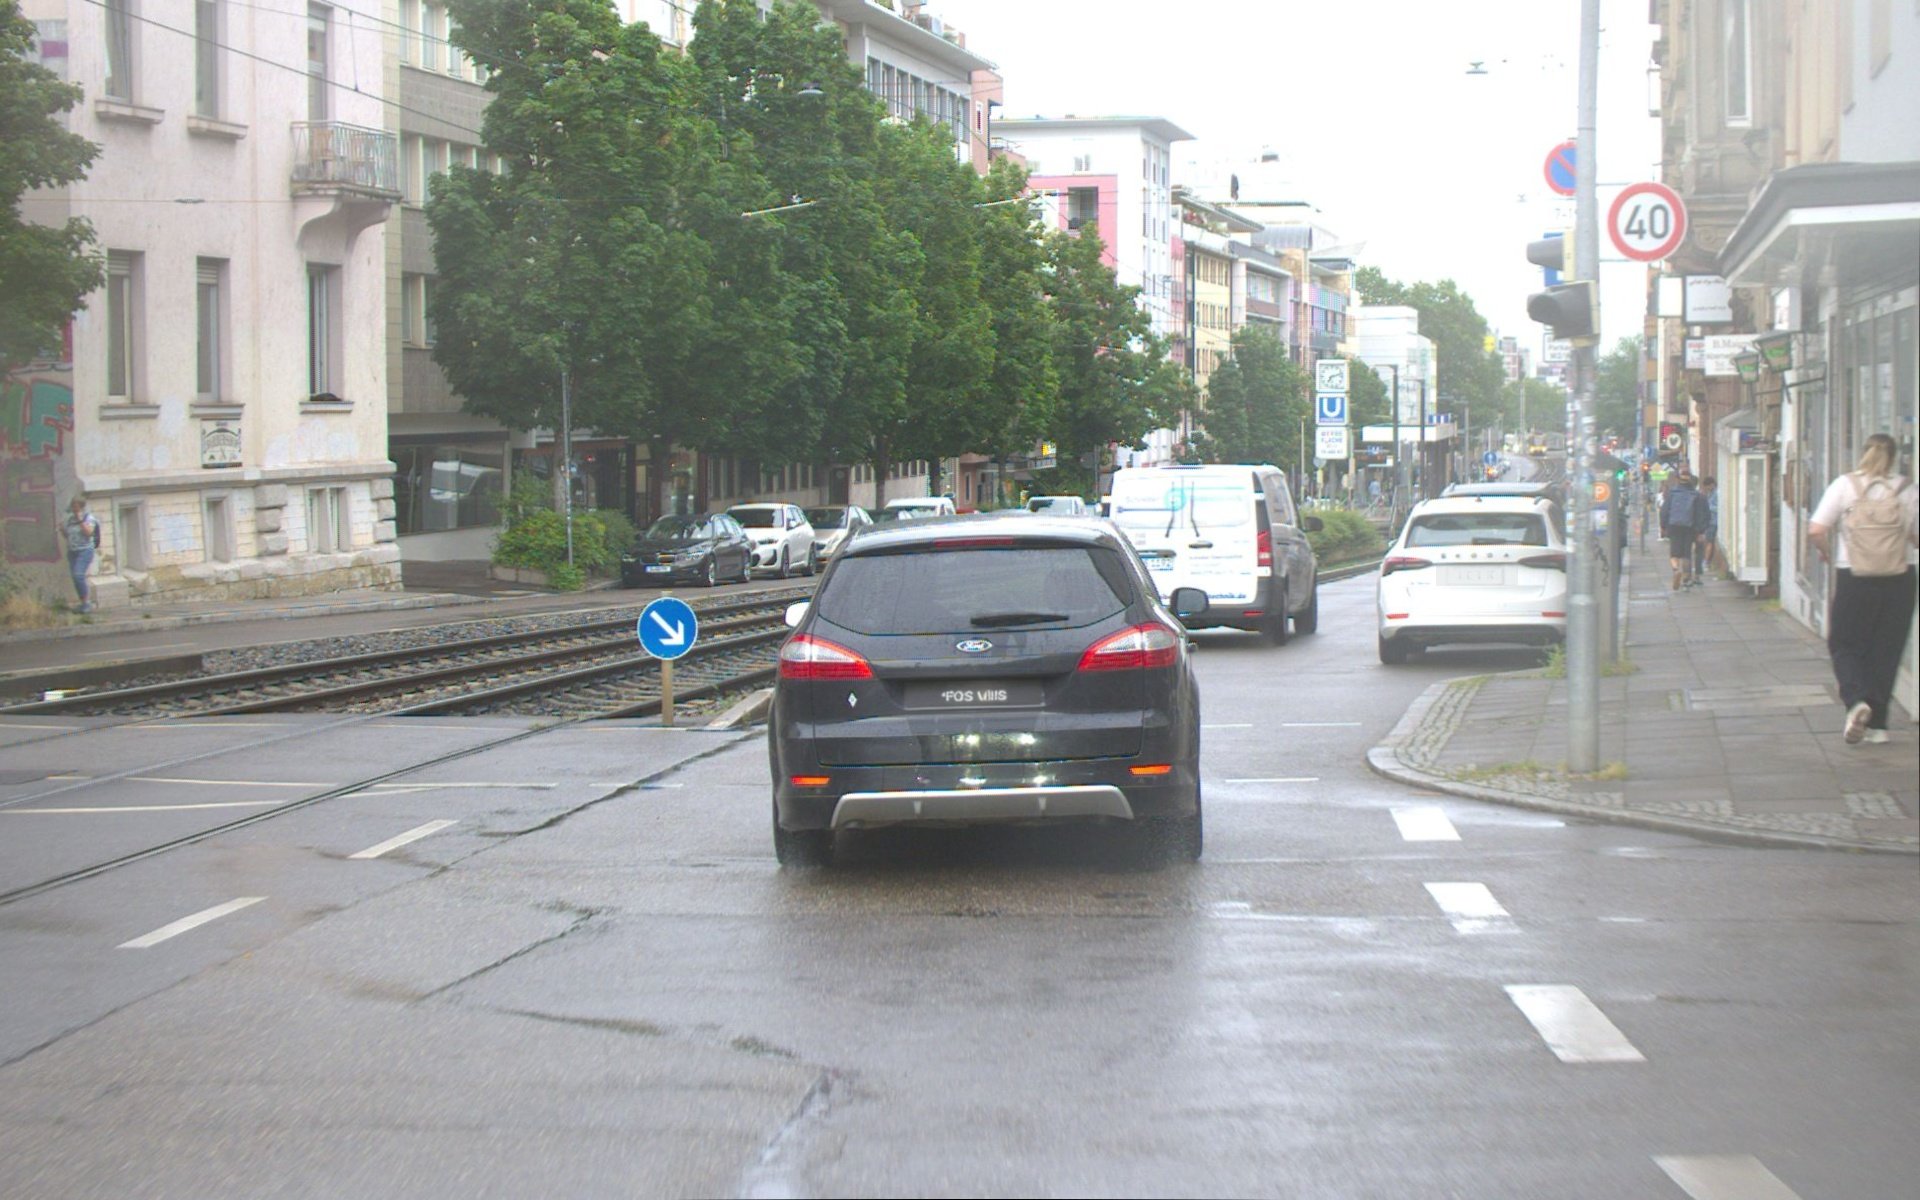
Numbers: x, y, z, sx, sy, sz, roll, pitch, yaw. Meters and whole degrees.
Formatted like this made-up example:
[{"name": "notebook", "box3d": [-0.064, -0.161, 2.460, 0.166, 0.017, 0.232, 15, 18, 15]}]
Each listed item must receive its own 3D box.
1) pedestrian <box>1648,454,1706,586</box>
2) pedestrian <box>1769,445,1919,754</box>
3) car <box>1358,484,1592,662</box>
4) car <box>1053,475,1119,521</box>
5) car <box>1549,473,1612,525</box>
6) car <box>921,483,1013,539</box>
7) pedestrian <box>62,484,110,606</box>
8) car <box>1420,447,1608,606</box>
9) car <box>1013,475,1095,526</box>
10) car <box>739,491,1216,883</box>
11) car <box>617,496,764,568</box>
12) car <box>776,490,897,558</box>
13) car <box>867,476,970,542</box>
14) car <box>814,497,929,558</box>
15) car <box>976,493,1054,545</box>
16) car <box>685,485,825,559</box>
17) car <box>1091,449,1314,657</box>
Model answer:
[{"name": "pedestrian", "box3d": [10.201, -1.148, 48.930, 0.703, 1.813, 0.961, -3, 3, 11]}, {"name": "pedestrian", "box3d": [4.661, -0.010, 17.903, 0.688, 1.566, 0.763, -1, 1, 0]}, {"name": "car", "box3d": [4.702, -0.262, 30.925, 1.802, 1.450, 4.584, -1, 1, 12]}, {"name": "car", "box3d": [4.432, -3.565, 120.487, 1.696, 1.568, 4.044, 0, 1, 12]}, {"name": "car", "box3d": [17.343, -2.826, 95.996, 1.671, 1.416, 3.475, -1, 2, 11]}, {"name": "car", "box3d": [0.221, -2.515, 97.685, 1.856, 1.521, 4.044, 0, 1, 12]}, {"name": "pedestrian", "box3d": [-11.971, -0.756, 47.119, 0.467, 1.646, 0.582, 2, 1, -1]}, {"name": "car", "box3d": [6.134, -0.796, 37.714, 1.846, 1.627, 4.584, 0, 1, 12]}, {"name": "car", "box3d": [3.138, -3.274, 113.882, 1.856, 1.631, 4.933, 0, 1, 12]}, {"name": "car", "box3d": [0.100, 0.313, 15.493, 1.842, 1.502, 4.000, -1, 1, 1]}, {"name": "car", "box3d": [-5.352, -1.342, 68.763, 1.694, 1.373, 4.718, 0, 1, 12]}, {"name": "car", "box3d": [-2.874, -1.781, 81.011, 1.856, 1.543, 4.429, 0, 1, 12]}, {"name": "car", "box3d": [-1.080, -2.409, 91.980, 1.856, 1.695, 4.429, 0, 1, 12]}, {"name": "car", "box3d": [-2.184, -1.808, 86.088, 1.856, 1.413, 4.429, -2, 0, 12]}, {"name": "car", "box3d": [1.691, -2.450, 104.734, 1.668, 1.553, 4.044, 0, 1, 12]}, {"name": "car", "box3d": [-4.399, -1.677, 74.534, 1.856, 1.543, 4.718, 0, 1, 12]}, {"name": "car", "box3d": [2.655, -0.560, 36.610, 1.989, 2.053, 4.644, 0, 2, 9]}]
